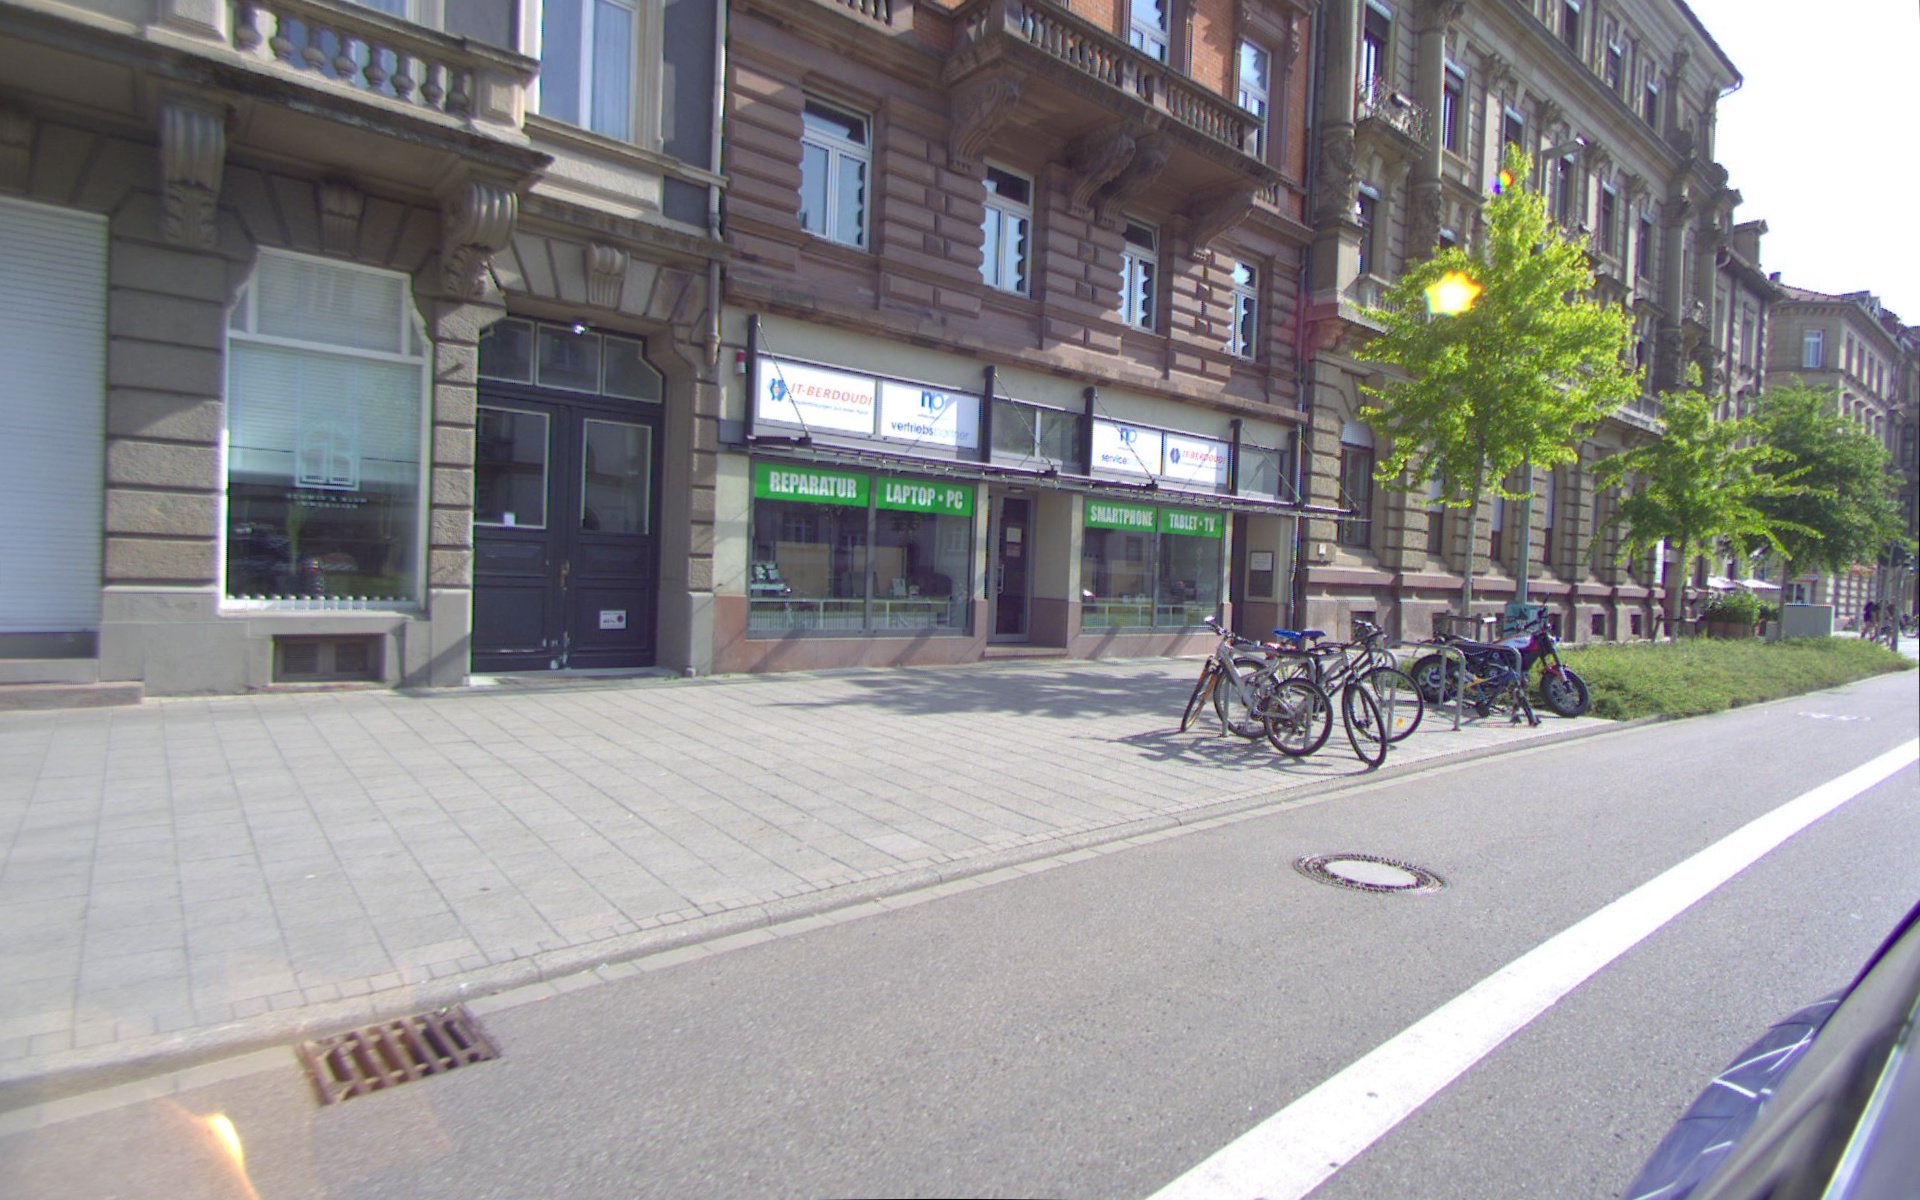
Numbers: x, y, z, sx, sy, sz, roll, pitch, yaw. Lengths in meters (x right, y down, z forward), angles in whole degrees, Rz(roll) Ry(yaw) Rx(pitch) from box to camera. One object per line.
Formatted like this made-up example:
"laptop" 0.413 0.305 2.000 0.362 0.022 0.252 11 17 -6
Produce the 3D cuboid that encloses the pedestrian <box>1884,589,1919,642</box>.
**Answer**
"pedestrian" 34.111 0.571 36.445 0.848 1.828 0.993 4 1 -38

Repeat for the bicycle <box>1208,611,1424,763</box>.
"bicycle" 3.068 0.707 8.888 0.366 1.067 1.789 2 3 -40

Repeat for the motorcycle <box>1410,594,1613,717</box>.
"motorcycle" 6.794 0.657 12.581 2.013 1.302 0.702 4 2 15

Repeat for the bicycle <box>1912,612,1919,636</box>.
"bicycle" 45.855 1.181 47.353 0.572 1.100 1.759 2 3 -36

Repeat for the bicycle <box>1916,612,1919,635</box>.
"bicycle" 46.357 1.185 47.671 0.572 1.100 1.759 2 3 -36

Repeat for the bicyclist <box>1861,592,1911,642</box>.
"bicyclist" 29.719 0.537 32.486 0.573 1.500 0.934 3 3 -11

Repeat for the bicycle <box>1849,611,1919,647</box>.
"bicycle" 29.708 0.916 32.479 0.496 0.964 1.789 3 3 -11

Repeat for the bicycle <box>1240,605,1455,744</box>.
"bicycle" 3.756 0.675 9.937 0.660 1.109 1.809 1 3 -44

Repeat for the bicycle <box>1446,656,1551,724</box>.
"bicycle" 6.069 1.001 11.431 0.354 0.617 0.961 1 3 -38

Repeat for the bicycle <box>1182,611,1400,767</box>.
"bicycle" 2.762 0.704 8.634 0.366 1.067 1.789 2 3 -40
